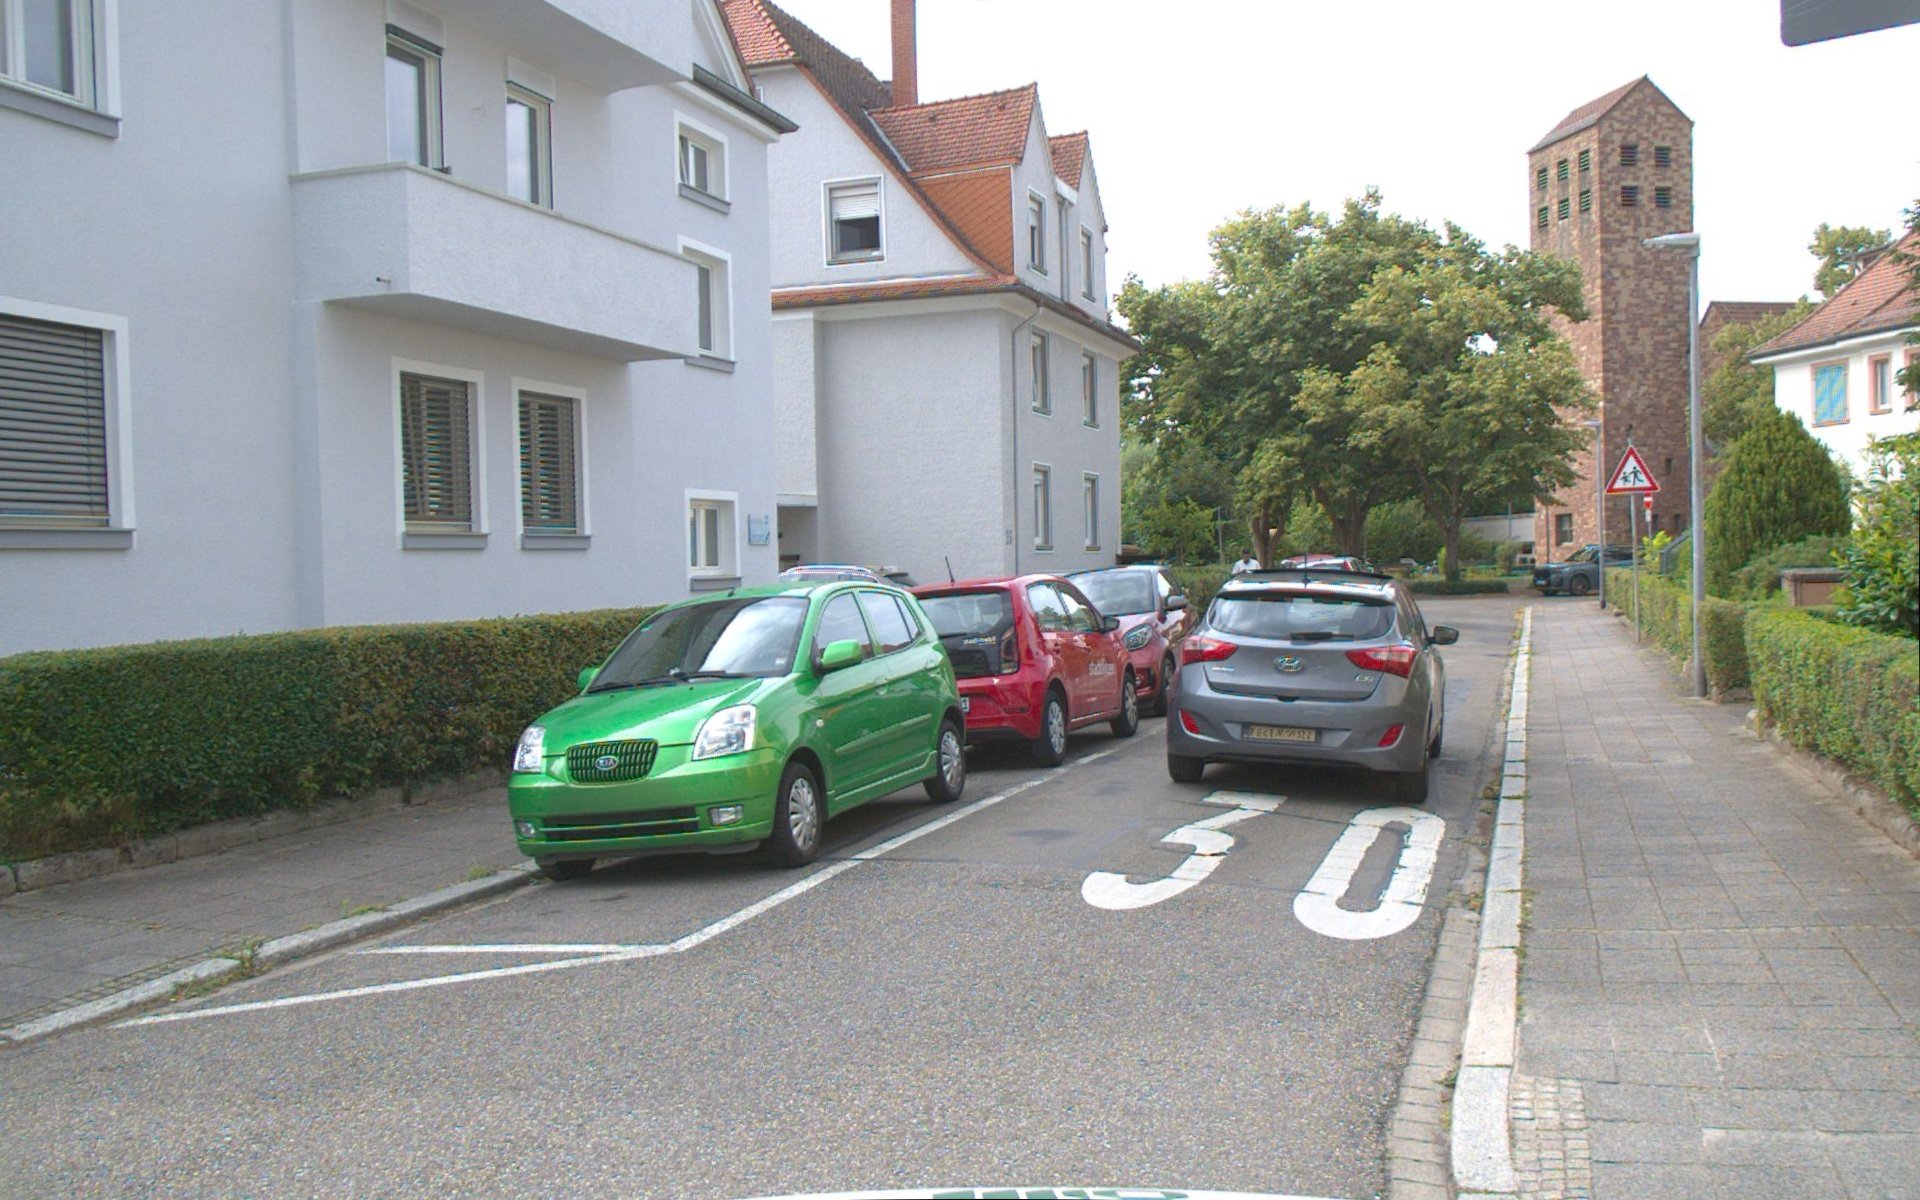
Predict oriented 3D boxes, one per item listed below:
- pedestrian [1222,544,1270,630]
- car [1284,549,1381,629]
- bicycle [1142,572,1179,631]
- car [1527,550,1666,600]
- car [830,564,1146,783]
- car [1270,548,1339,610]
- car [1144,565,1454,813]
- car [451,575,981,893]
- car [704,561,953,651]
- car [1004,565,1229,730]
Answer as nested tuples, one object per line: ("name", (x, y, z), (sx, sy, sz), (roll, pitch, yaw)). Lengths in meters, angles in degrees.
("pedestrian", (6.477, -0.305, 37.387), (0.863, 1.911, 1.079), (-1, 1, 20))
("car", (8.048, -0.260, 35.563), (1.611, 1.521, 3.483), (-5, 0, 18))
("bicycle", (4.021, 0.009, 33.068), (0.413, 1.122, 2.117), (-1, 1, 15))
("car", (20.603, -0.816, 53.698), (4.126, 1.489, 1.685), (-1, 2, 19))
("car", (0.370, 0.529, 14.030), (1.611, 1.521, 3.483), (-5, 0, 18))
("car", (9.594, -0.579, 46.240), (1.611, 1.521, 3.484), (-5, 0, 9))
("car", (2.723, 0.511, 12.550), (1.810, 1.506, 4.044), (1, 2, 19))
("car", (-1.219, 0.656, 9.762), (1.611, 1.446, 3.483), (-5, 0, 18))
("car", (-2.313, 0.100, 29.292), (3.904, 1.489, 2.001), (-1, 1, 20))
("car", (1.809, 0.447, 18.097), (1.611, 1.521, 3.483), (-5, 0, 18))
